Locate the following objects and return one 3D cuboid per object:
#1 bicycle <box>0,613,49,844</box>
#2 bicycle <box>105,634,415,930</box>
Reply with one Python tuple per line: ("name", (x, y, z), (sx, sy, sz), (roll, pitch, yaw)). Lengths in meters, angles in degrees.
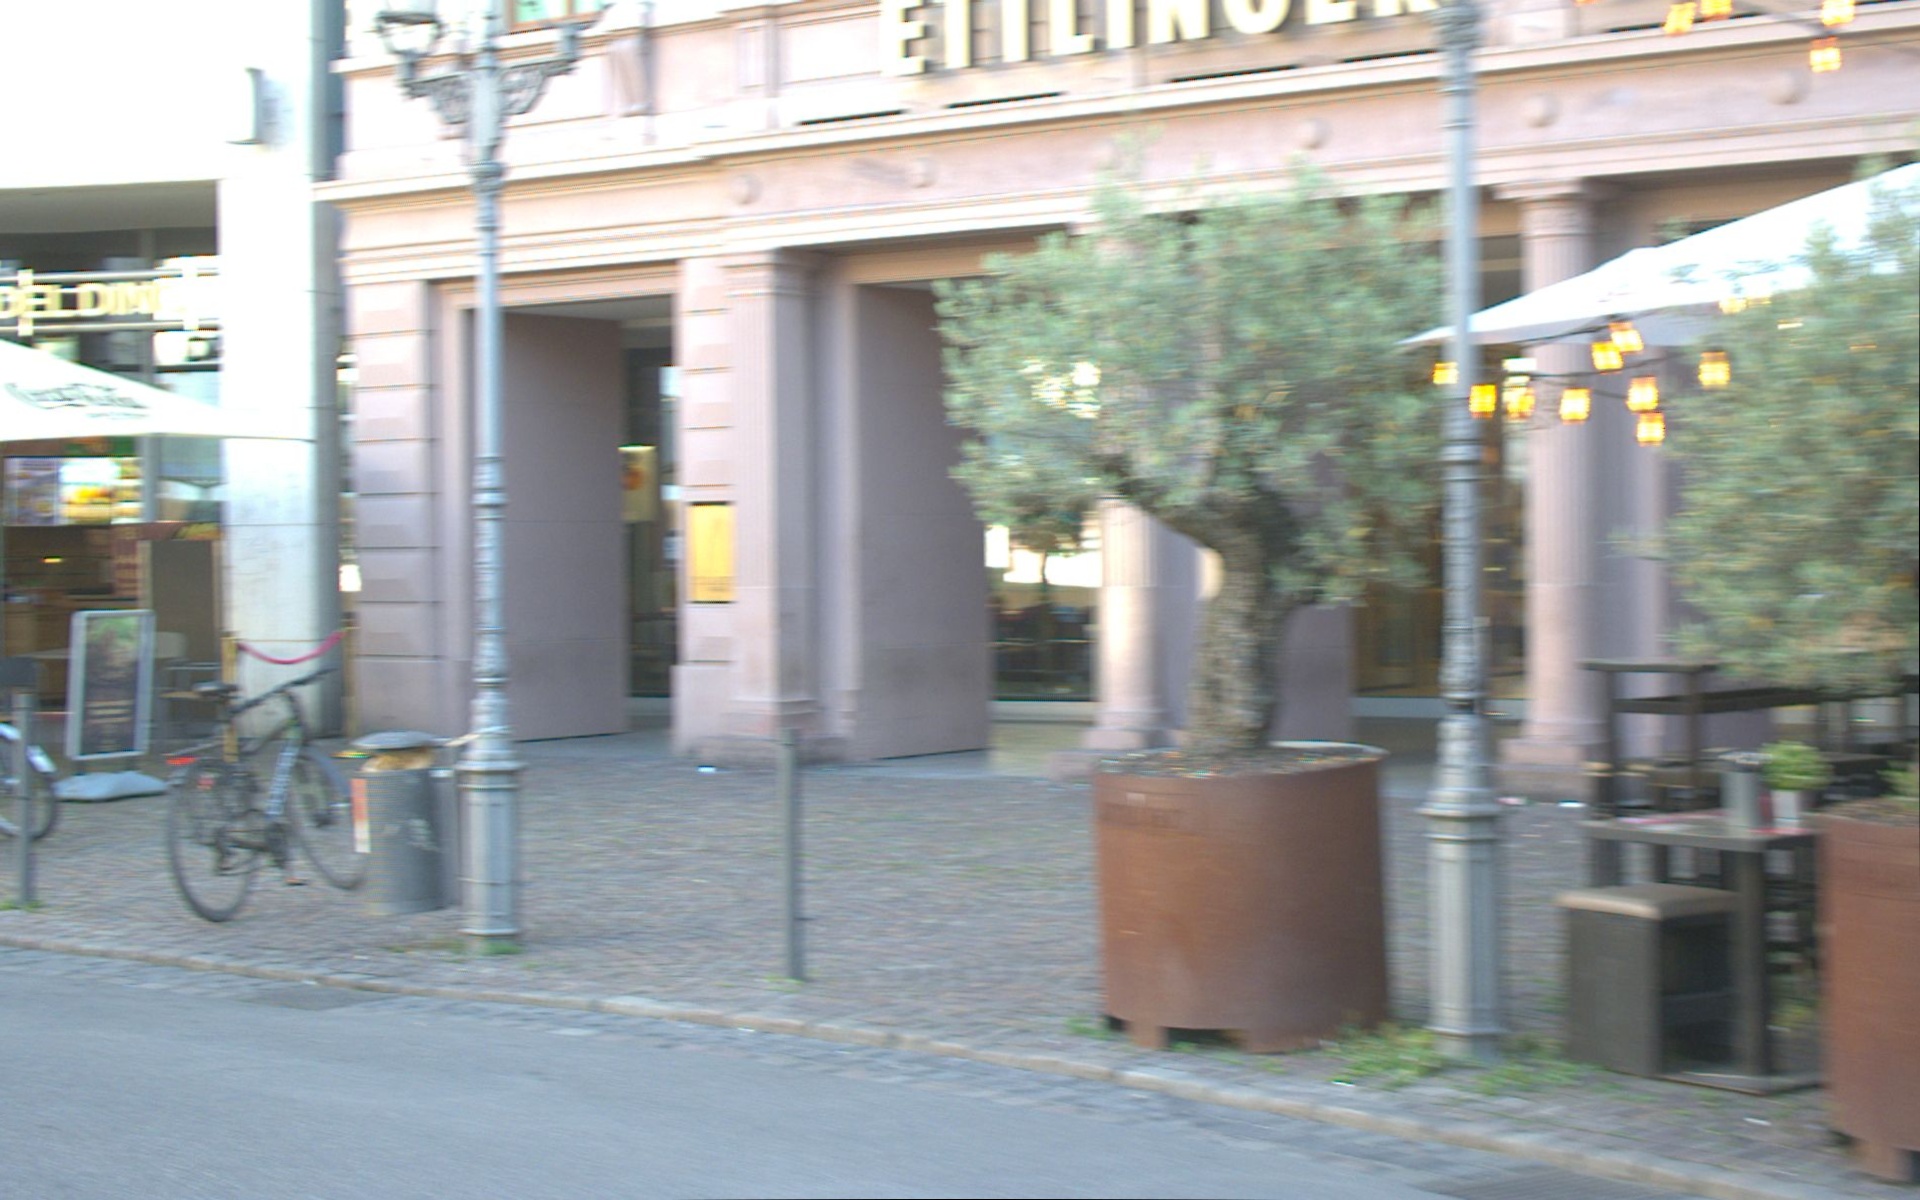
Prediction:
("bicycle", (-5.185, 0.686, 17.312), (0.605, 1.124, 1.906), (-1, 3, 2))
("bicycle", (-3.103, 0.775, 15.445), (0.606, 1.124, 1.905), (0, 3, 13))
